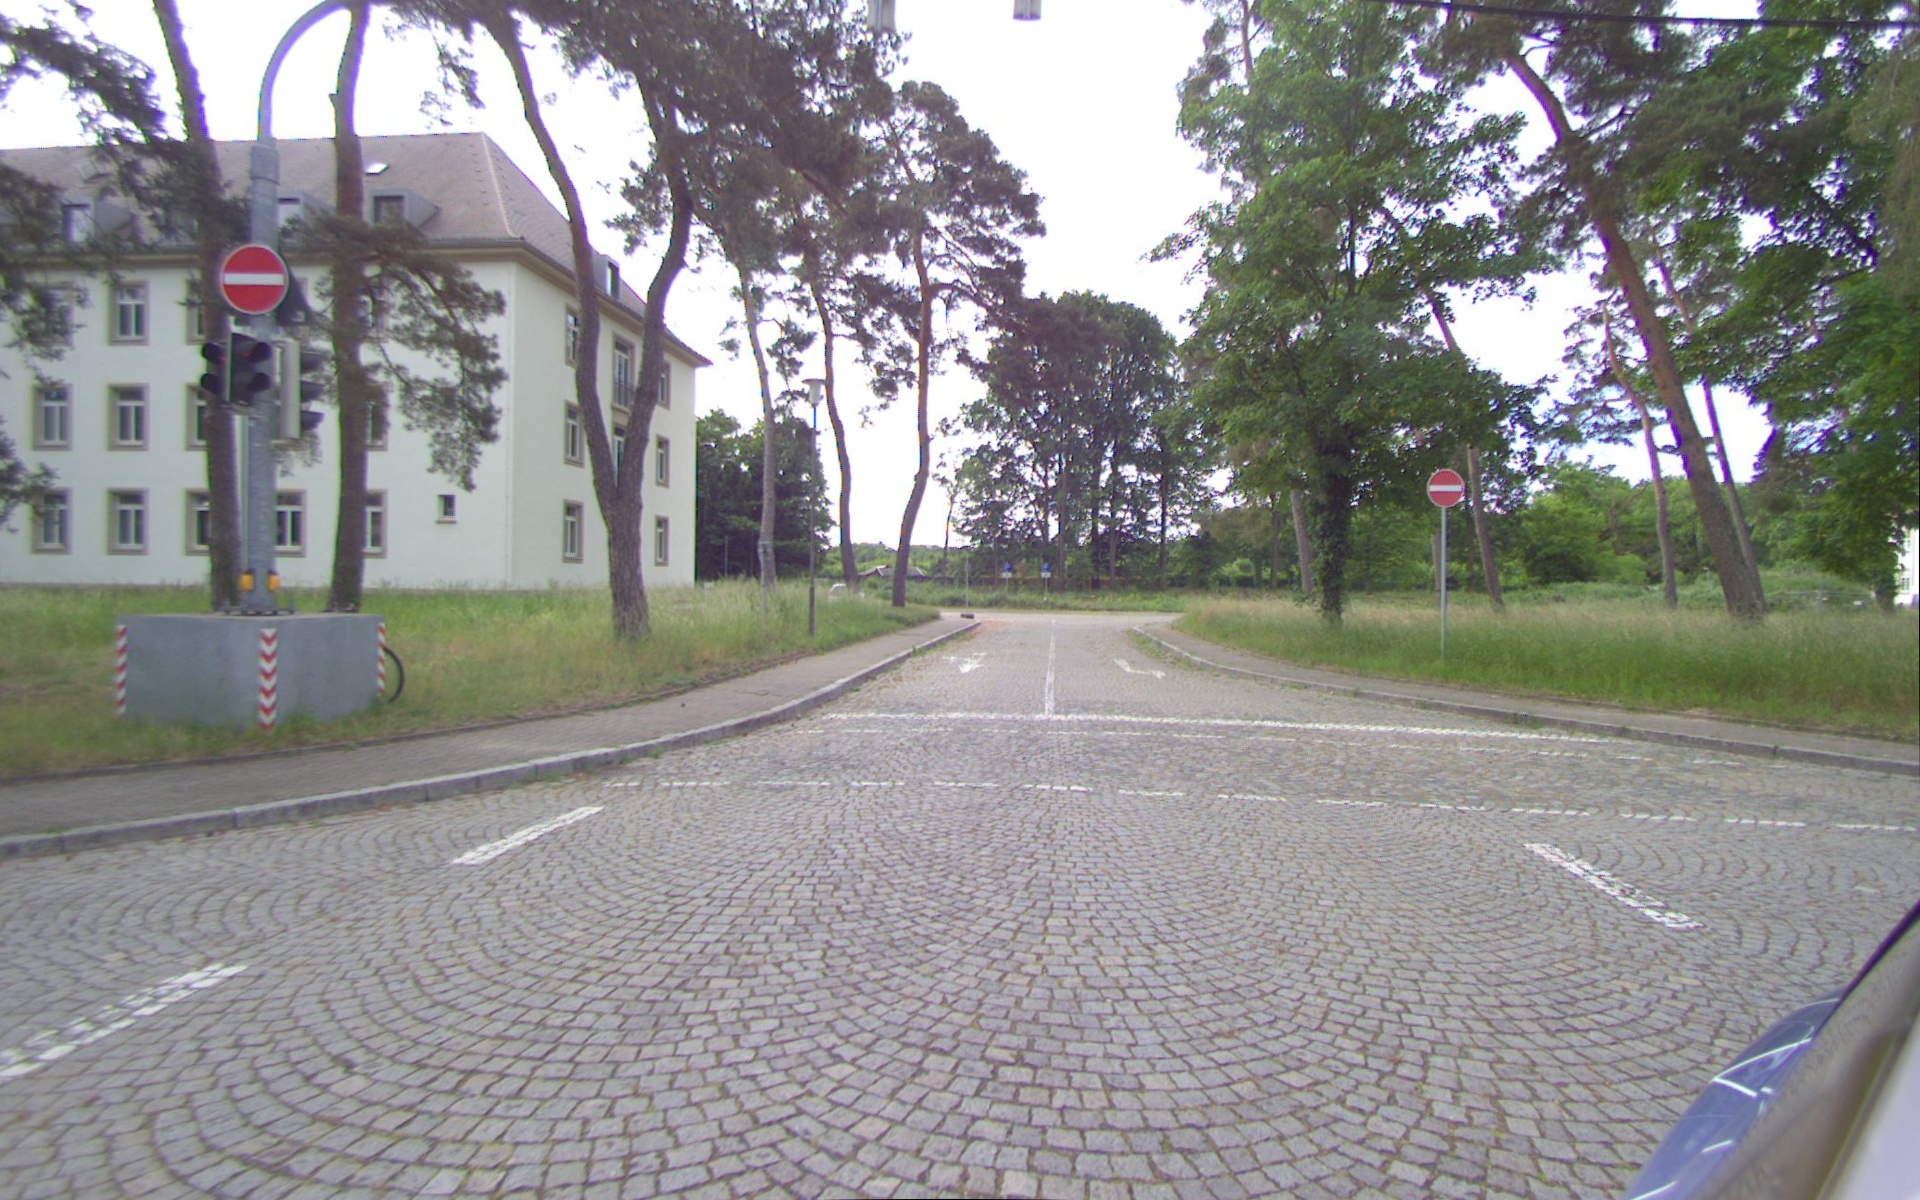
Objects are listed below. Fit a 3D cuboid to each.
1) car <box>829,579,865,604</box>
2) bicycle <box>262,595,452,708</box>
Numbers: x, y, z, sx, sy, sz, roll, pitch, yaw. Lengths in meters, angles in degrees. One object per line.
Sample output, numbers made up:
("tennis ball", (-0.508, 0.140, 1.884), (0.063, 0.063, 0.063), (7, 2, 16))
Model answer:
("car", (-6.707, -0.501, 60.391), (1.463, 1.455, 3.189), (0, 0, 7))
("bicycle", (-5.994, 0.488, 10.074), (1.651, 0.982, 0.581), (3, 3, 10))
